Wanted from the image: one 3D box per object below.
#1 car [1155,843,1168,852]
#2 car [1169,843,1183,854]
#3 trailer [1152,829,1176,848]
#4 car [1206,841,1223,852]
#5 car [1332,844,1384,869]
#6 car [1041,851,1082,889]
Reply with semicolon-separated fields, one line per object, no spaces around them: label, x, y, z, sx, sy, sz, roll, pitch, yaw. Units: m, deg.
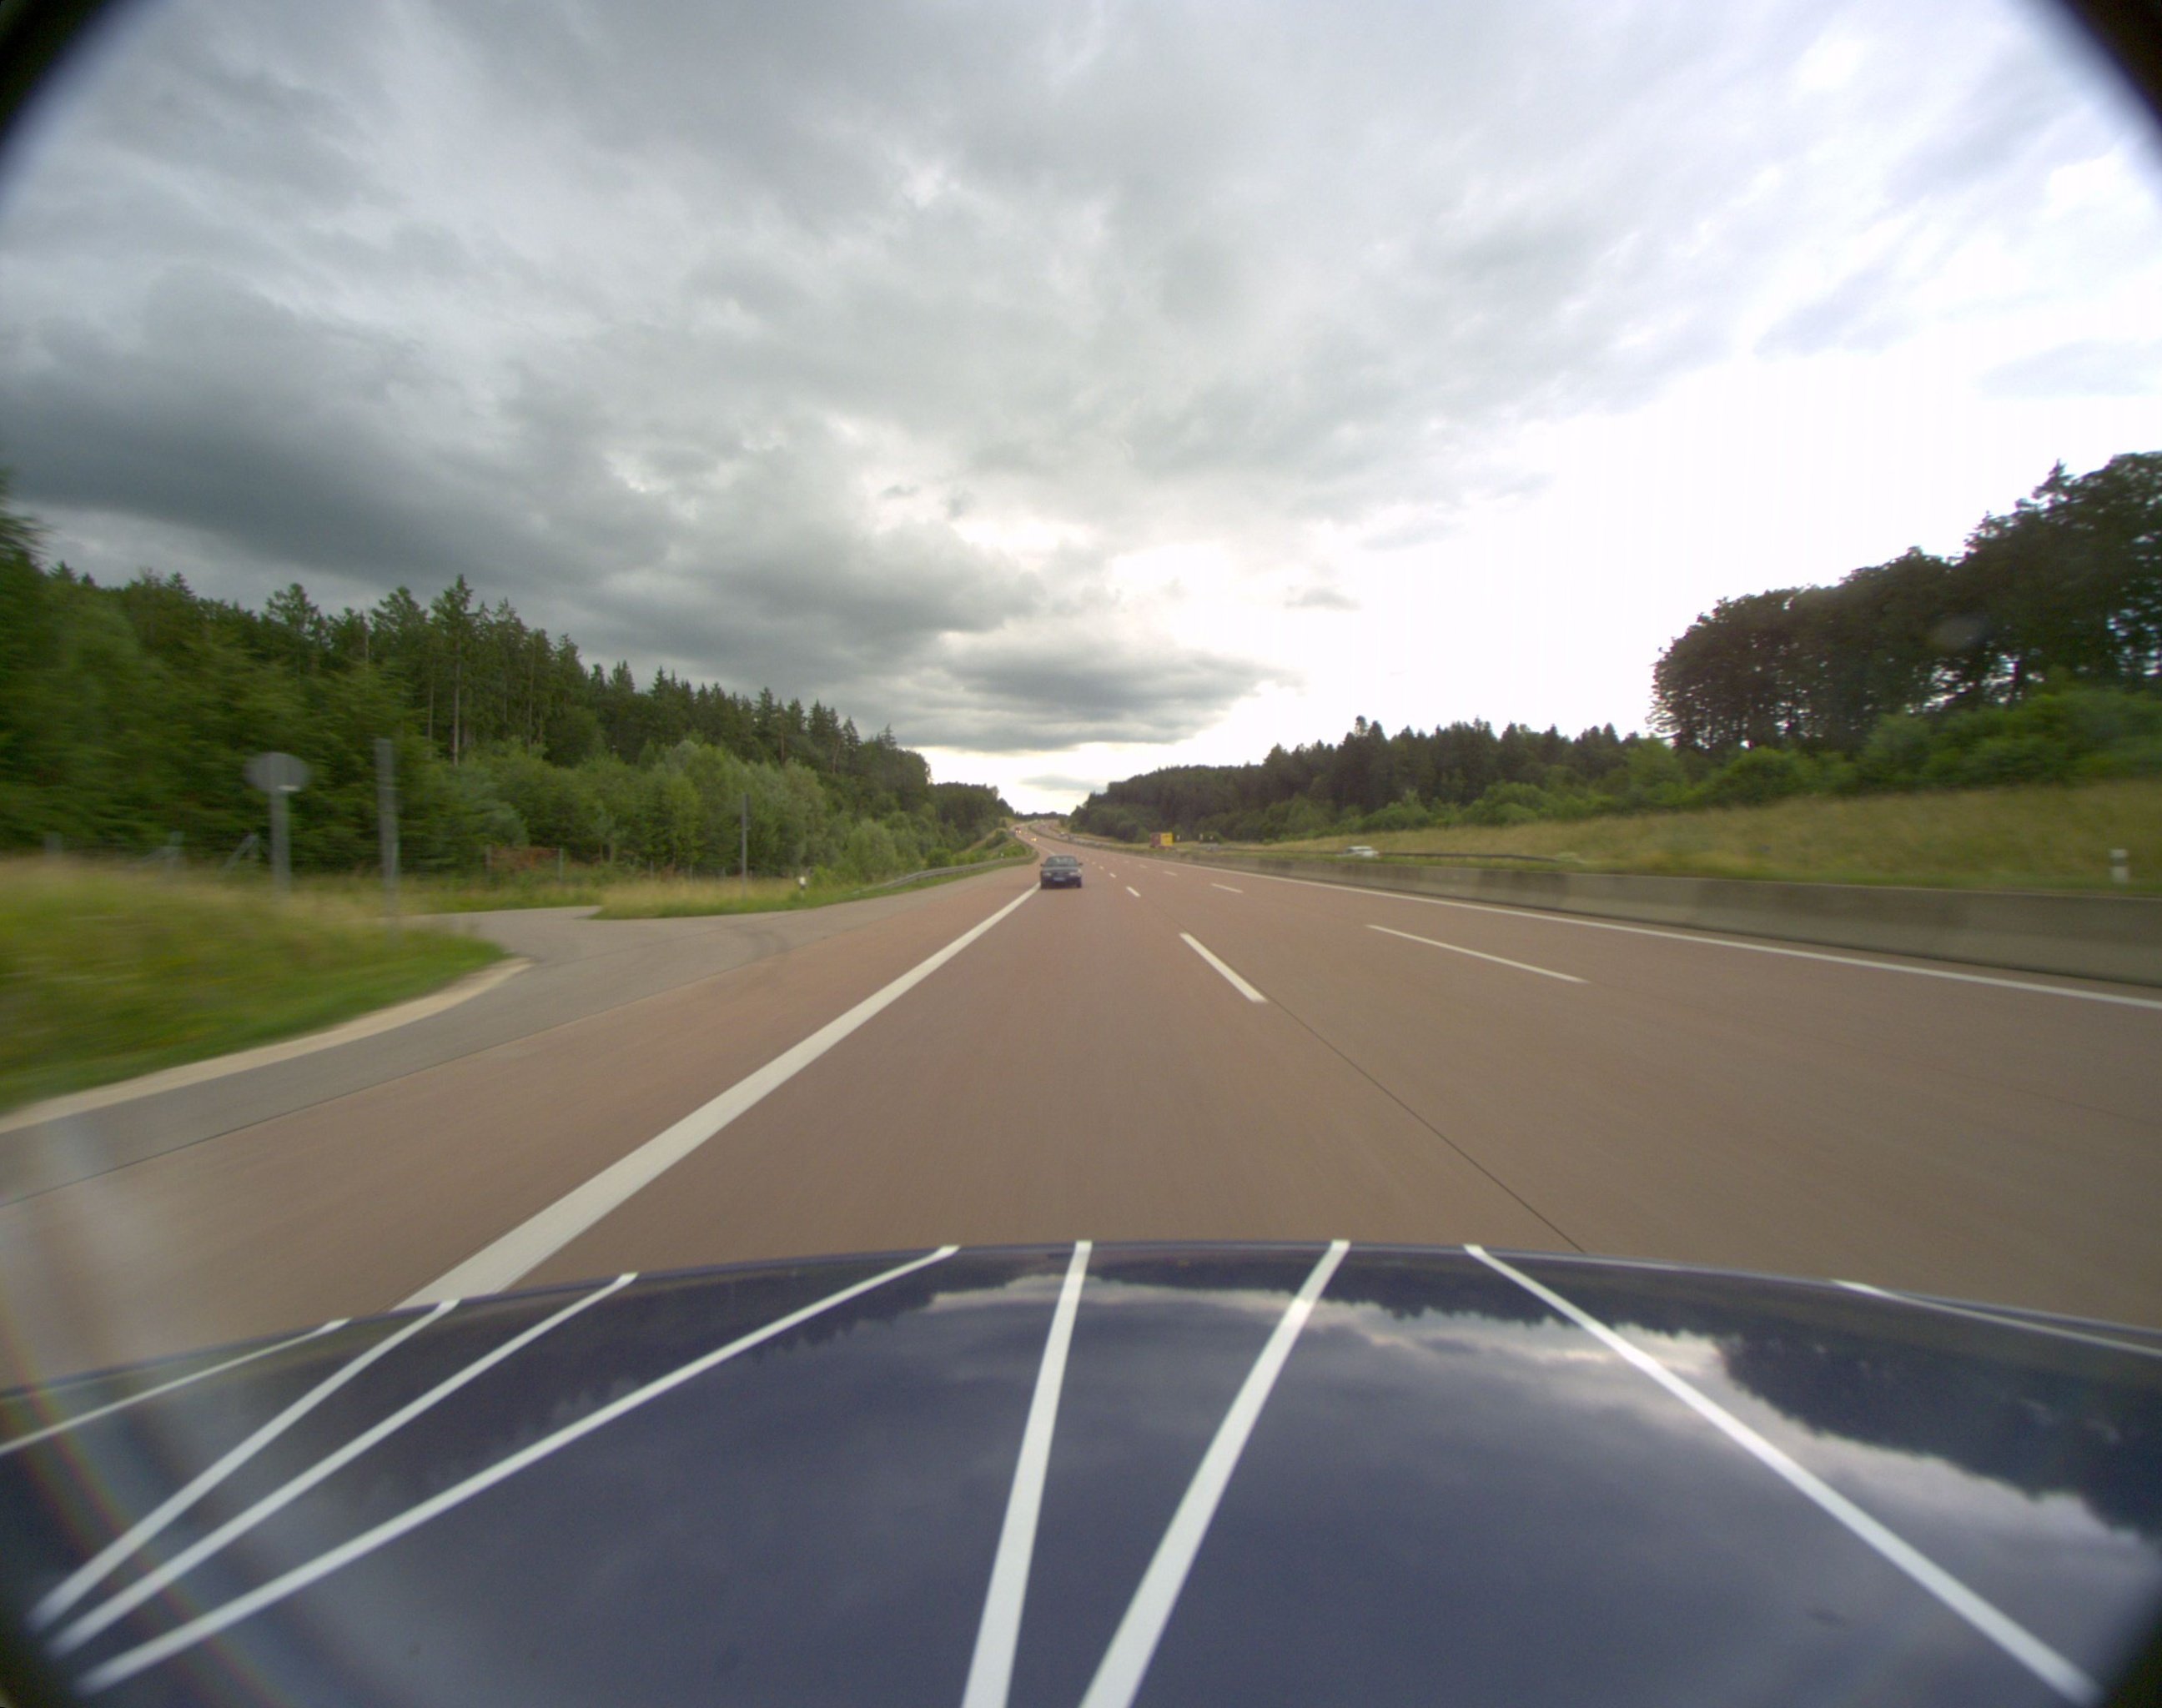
car;15.833;-1.259;149.513;1.767;1.629;4.377;-2;2;-2
car;15.954;-0.987;127.441;1.812;1.805;3.999;-1;1;0
trailer;18.957;-3.622;174.442;3.041;4.019;14.524;-2;1;-2
car;21.159;-1.209;120.499;1.767;1.629;4.380;-2;1;0
car;19.114;0.138;52.664;1.674;1.517;4.823;-2;2;-1
car;-0.794;0.649;33.131;1.676;1.395;4.231;-1;2;0
